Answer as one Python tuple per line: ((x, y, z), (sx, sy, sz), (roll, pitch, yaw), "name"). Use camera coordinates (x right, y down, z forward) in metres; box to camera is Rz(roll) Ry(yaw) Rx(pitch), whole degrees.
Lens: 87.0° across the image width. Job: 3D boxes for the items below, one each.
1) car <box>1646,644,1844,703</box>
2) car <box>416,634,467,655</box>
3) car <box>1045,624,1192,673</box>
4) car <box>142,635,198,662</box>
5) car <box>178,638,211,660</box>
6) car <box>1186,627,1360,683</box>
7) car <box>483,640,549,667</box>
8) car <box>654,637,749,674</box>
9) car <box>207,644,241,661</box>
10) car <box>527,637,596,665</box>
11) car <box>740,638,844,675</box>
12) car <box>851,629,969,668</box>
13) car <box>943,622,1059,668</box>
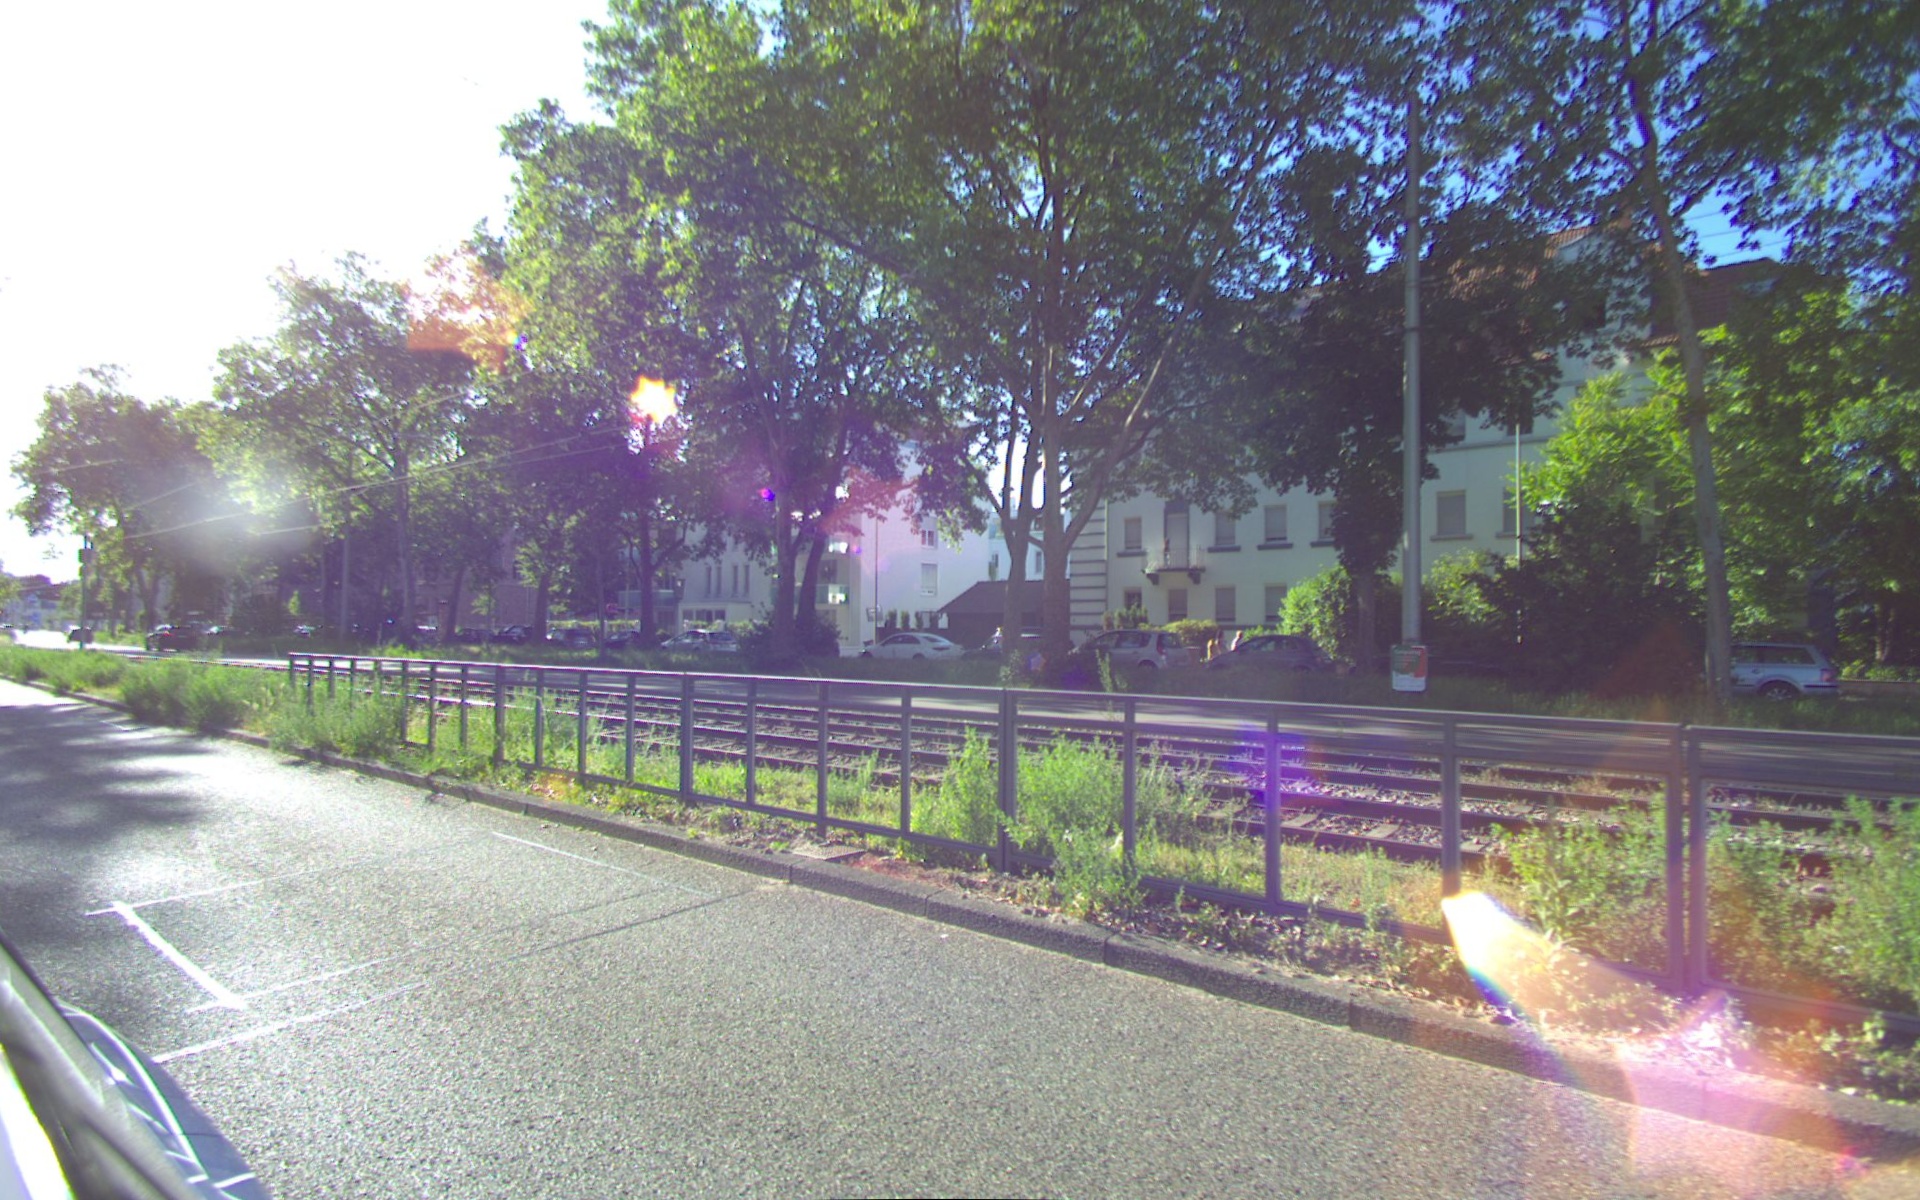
((16.605, 1.517, 21.545), (3.213, 1.125, 1.458), (-2, -2, 38), "car")
((-37.366, 3.176, 72.930), (3.998, 1.497, 1.973), (-2, -3, 41), "car")
((4.879, 1.482, 31.566), (4.316, 1.451, 1.717), (-2, -3, 41), "car")
((-50.032, 3.052, 64.045), (4.456, 1.660, 1.839), (-2, -3, 39), "car")
((-74.479, 4.751, 98.424), (1.971, 2.029, 4.002), (2, -3, -45), "car")
((8.675, 1.488, 28.292), (4.317, 1.452, 1.766), (-2, -3, 42), "car")
((-25.234, 3.012, 57.473), (3.998, 1.497, 1.973), (-2, -3, 41), "car")
((-11.956, 2.522, 46.651), (4.653, 1.603, 1.972), (-2, -3, 41), "car")
((-67.354, 4.751, 92.604), (3.686, 1.497, 1.748), (-2, -3, 41), "car")
((-21.357, 2.703, 54.209), (3.998, 1.484, 1.778), (-2, -3, 41), "car")
((-6.979, 2.298, 41.912), (4.316, 1.464, 1.972), (-2, -3, 41), "car")
((-1.890, 1.772, 37.399), (4.458, 1.334, 1.623), (-2, -4, 41), "car")
((1.351, 1.517, 34.500), (3.695, 1.476, 1.756), (-2, -3, 41), "car")
